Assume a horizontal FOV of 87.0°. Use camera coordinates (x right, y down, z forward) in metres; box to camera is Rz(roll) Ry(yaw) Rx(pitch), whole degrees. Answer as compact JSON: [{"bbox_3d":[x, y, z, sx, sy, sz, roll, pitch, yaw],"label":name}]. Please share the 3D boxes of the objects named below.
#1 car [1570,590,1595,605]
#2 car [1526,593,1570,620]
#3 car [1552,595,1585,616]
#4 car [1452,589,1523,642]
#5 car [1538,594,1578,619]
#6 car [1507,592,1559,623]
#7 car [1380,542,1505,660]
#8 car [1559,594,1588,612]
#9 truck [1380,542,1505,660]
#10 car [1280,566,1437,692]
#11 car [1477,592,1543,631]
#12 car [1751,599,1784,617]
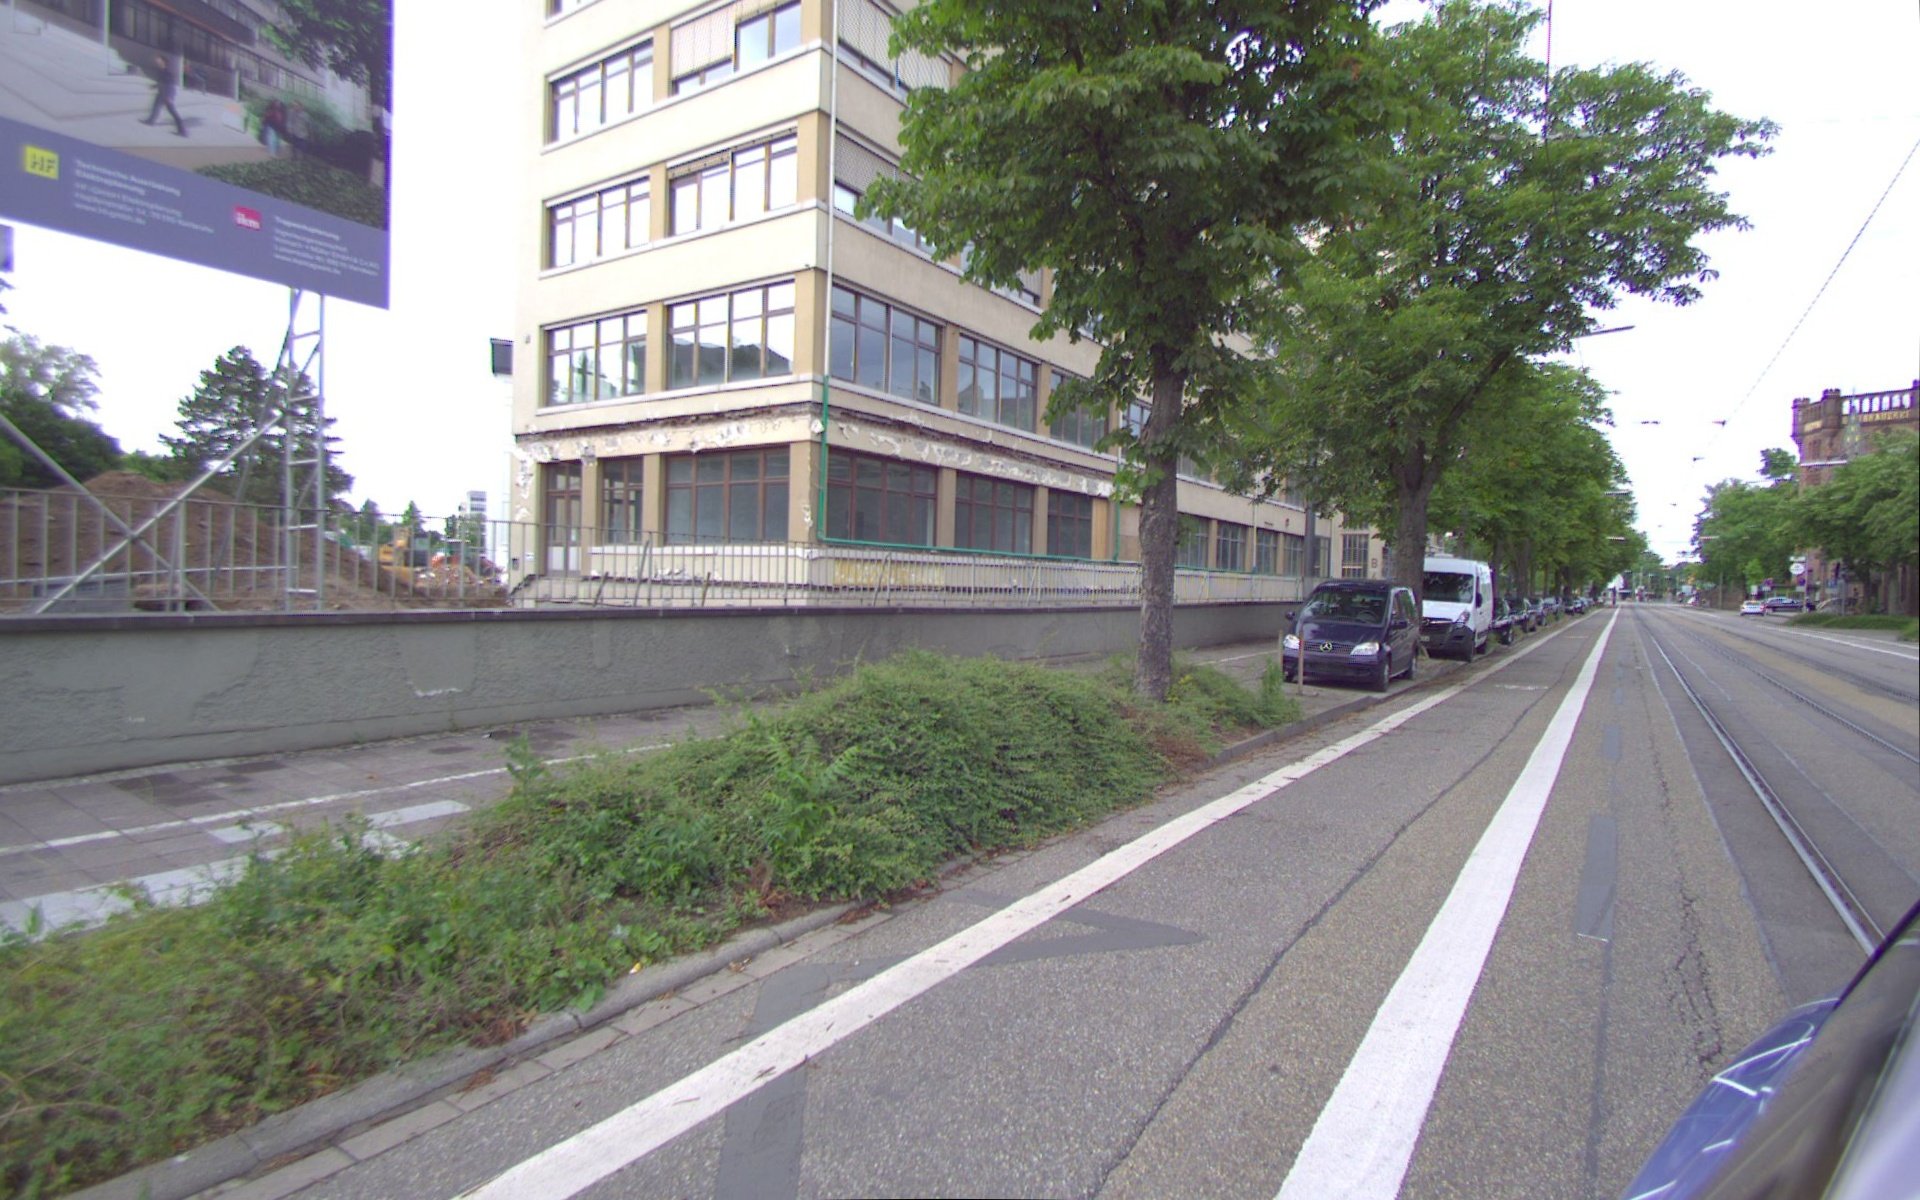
[{"bbox_3d":[60.592,-0.248,98.477,1.986,1.479,4.340,1,1,34],"label":"car"},{"bbox_3d":[34.093,0.352,58.620,1.986,1.479,4.340,1,1,34],"label":"car"},{"bbox_3d":[46.611,0.406,77.459,1.986,1.479,4.340,1,1,34],"label":"car"},{"bbox_3d":[17.409,0.453,33.330,1.812,1.518,4.063,4,3,30],"label":"car"},{"bbox_3d":[38.567,0.388,65.190,1.986,1.479,4.340,1,1,34],"label":"car"},{"bbox_3d":[28.942,0.357,51.073,1.986,1.479,4.340,1,1,34],"label":"car"},{"bbox_3d":[12.302,-0.009,25.612,2.105,2.635,5.425,1,1,34],"label":"car"},{"bbox_3d":[52.866,0.219,87.170,1.986,1.479,4.340,1,1,34],"label":"car"},{"bbox_3d":[12.302,-0.009,25.612,2.105,2.635,5.425,1,1,34],"label":"truck"},{"bbox_3d":[6.985,0.390,17.509,1.648,1.834,4.036,4,3,33],"label":"car"},{"bbox_3d":[22.576,0.434,41.478,1.986,1.479,4.340,1,1,34],"label":"car"},{"bbox_3d":[76.078,0.712,95.413,1.986,1.549,3.952,3,2,34],"label":"car"}]
